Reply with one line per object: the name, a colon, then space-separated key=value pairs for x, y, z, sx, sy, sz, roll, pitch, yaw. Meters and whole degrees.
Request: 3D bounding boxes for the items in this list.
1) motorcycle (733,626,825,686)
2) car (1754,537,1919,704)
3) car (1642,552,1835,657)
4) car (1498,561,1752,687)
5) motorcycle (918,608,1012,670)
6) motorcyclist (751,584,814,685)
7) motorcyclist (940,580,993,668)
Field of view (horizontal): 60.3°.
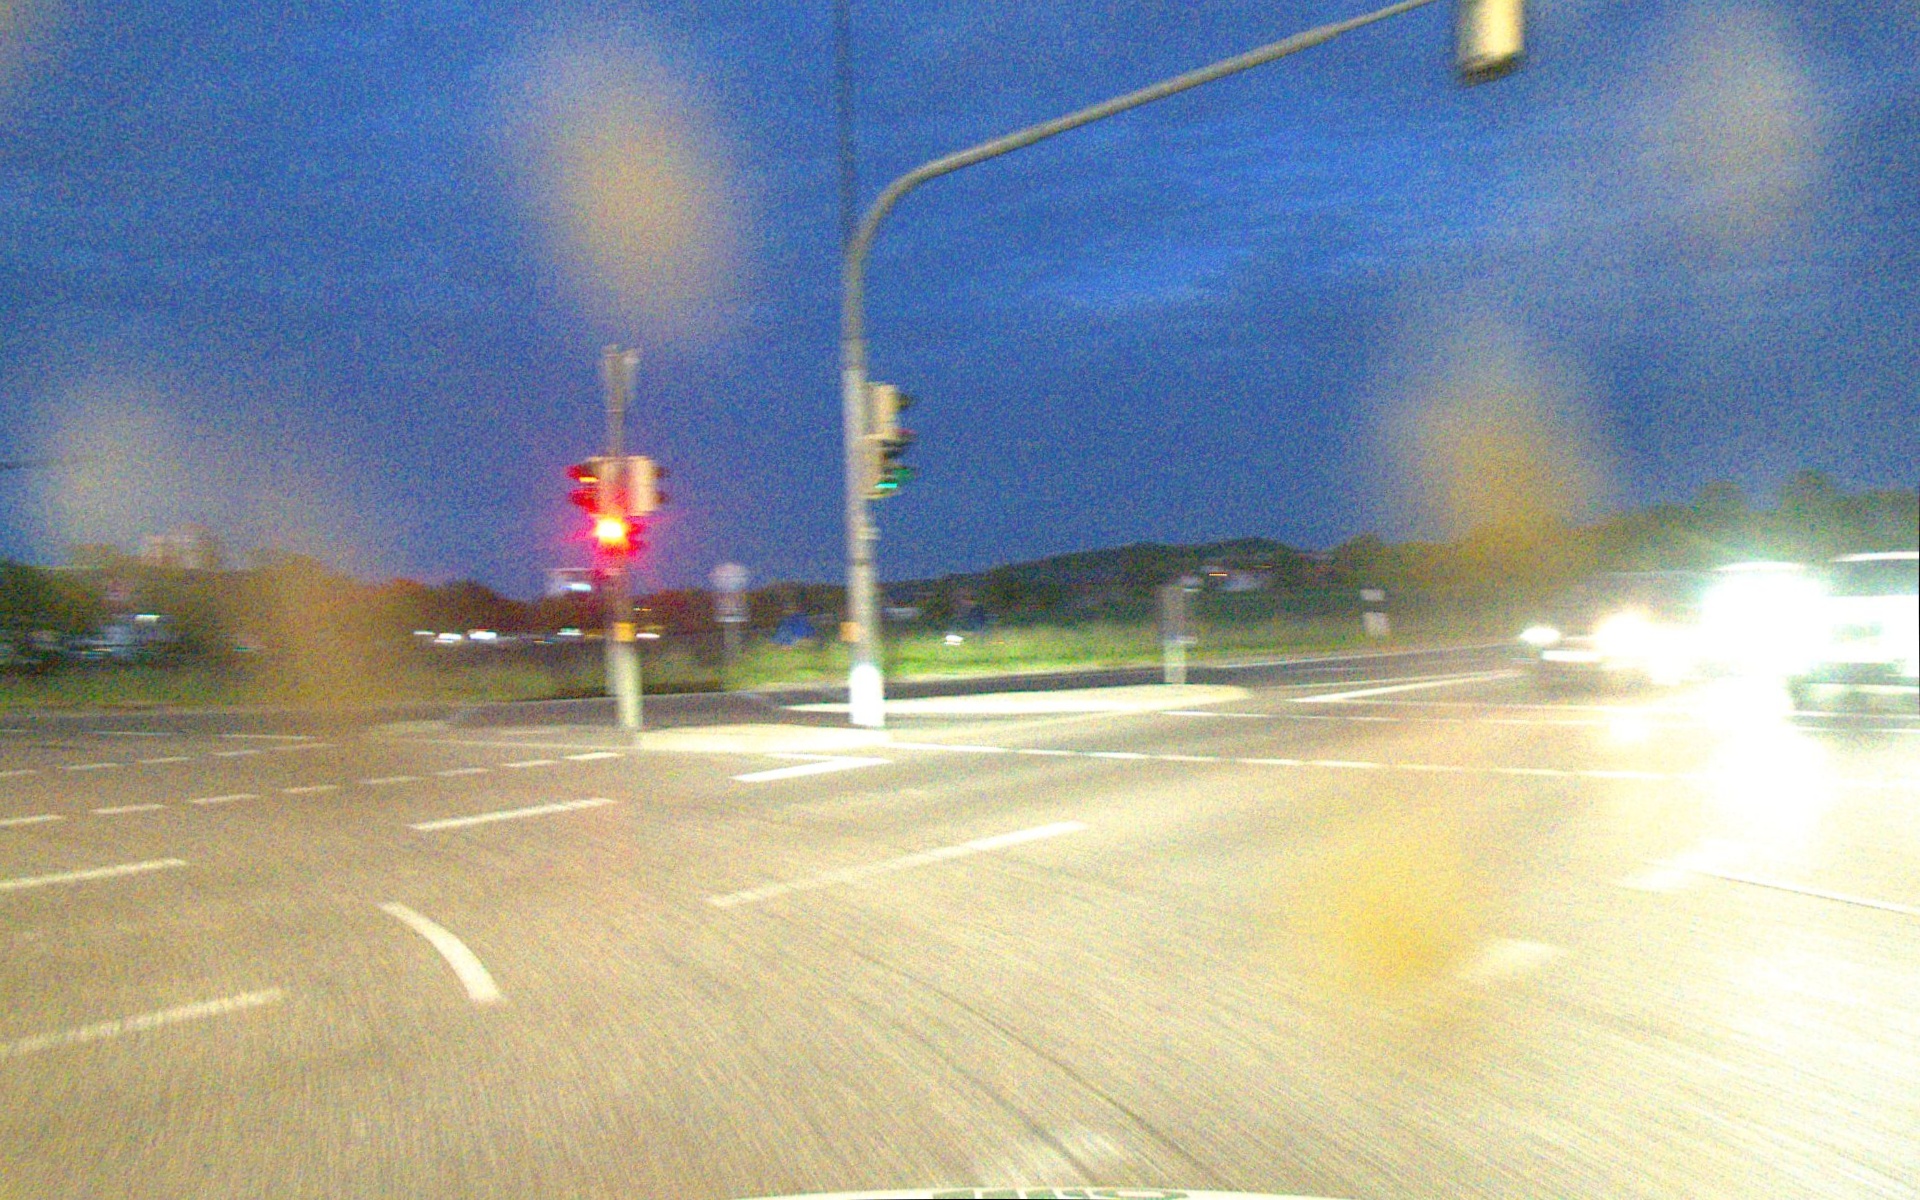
motorcycle: x=-3.446 y=1.064 z=31.570 sx=1.556 sy=1.051 sz=0.715 roll=0 pitch=-6 yaw=-31
car: x=10.798 y=0.147 z=18.993 sx=1.880 sy=1.711 sz=4.394 roll=-1 pitch=1 yaw=42
car: x=12.787 y=0.040 z=27.049 sx=1.804 sy=1.551 sz=3.978 roll=-2 pitch=0 yaw=41
car: x=9.010 y=0.257 z=22.220 sx=1.755 sy=1.471 sz=4.264 roll=-1 pitch=1 yaw=43
motorcycle: x=0.113 y=0.812 z=34.710 sx=1.803 sy=1.202 sz=0.838 roll=0 pitch=-5 yaw=-39
motorcyclist: x=-3.403 y=0.669 z=31.667 sx=0.858 sy=1.840 sz=0.908 roll=-1 pitch=-6 yaw=-29
motorcyclist: x=0.133 y=0.497 z=34.757 sx=0.782 sy=1.790 sz=0.674 roll=0 pitch=-5 yaw=-39
